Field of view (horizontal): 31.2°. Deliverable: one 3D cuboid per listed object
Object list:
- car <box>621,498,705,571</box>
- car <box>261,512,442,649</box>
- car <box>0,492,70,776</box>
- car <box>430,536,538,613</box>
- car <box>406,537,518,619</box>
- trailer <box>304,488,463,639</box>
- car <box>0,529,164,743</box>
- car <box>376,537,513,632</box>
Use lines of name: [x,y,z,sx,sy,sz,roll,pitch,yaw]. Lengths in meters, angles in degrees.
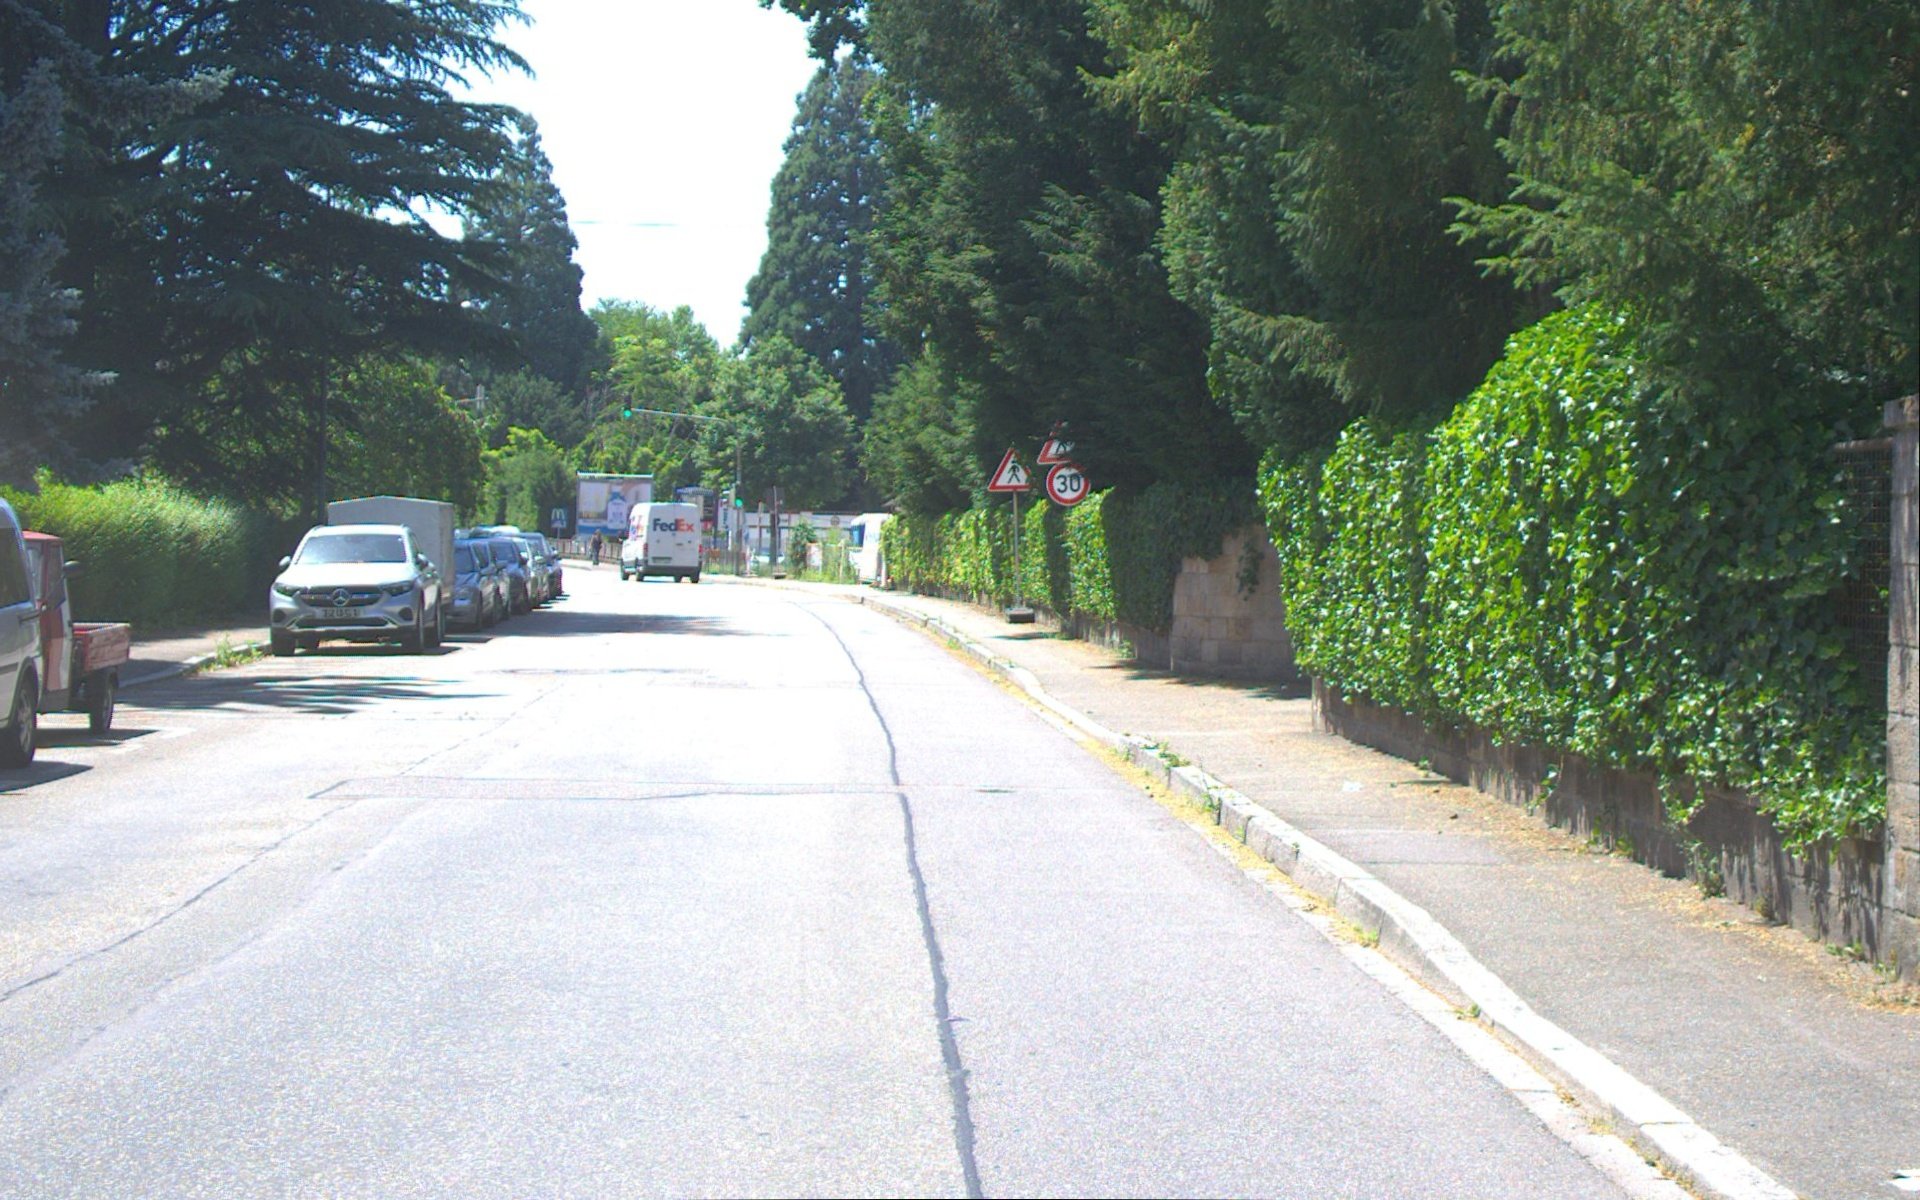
car: [-9.687,-2.139,111.998,2.143,2.307,4.854,0,1,-12]
car: [-7.858,-0.272,44.775,1.850,1.665,4.713,-1,1,-4]
car: [-6.715,0.217,20.705,1.648,1.746,4.355,0,1,-1]
car: [-9.160,-0.510,66.402,1.688,1.439,4.136,0,1,-2]
car: [-8.828,-0.408,61.182,1.582,1.385,3.883,1,1,-2]
trailer: [-8.206,-0.531,49.206,1.847,2.033,4.164,-1,1,-4]
car: [-6.961,0.236,25.643,1.411,1.498,2.840,-1,1,-1]
car: [-8.227,-0.274,55.151,1.709,1.434,4.323,-1,1,-2]
